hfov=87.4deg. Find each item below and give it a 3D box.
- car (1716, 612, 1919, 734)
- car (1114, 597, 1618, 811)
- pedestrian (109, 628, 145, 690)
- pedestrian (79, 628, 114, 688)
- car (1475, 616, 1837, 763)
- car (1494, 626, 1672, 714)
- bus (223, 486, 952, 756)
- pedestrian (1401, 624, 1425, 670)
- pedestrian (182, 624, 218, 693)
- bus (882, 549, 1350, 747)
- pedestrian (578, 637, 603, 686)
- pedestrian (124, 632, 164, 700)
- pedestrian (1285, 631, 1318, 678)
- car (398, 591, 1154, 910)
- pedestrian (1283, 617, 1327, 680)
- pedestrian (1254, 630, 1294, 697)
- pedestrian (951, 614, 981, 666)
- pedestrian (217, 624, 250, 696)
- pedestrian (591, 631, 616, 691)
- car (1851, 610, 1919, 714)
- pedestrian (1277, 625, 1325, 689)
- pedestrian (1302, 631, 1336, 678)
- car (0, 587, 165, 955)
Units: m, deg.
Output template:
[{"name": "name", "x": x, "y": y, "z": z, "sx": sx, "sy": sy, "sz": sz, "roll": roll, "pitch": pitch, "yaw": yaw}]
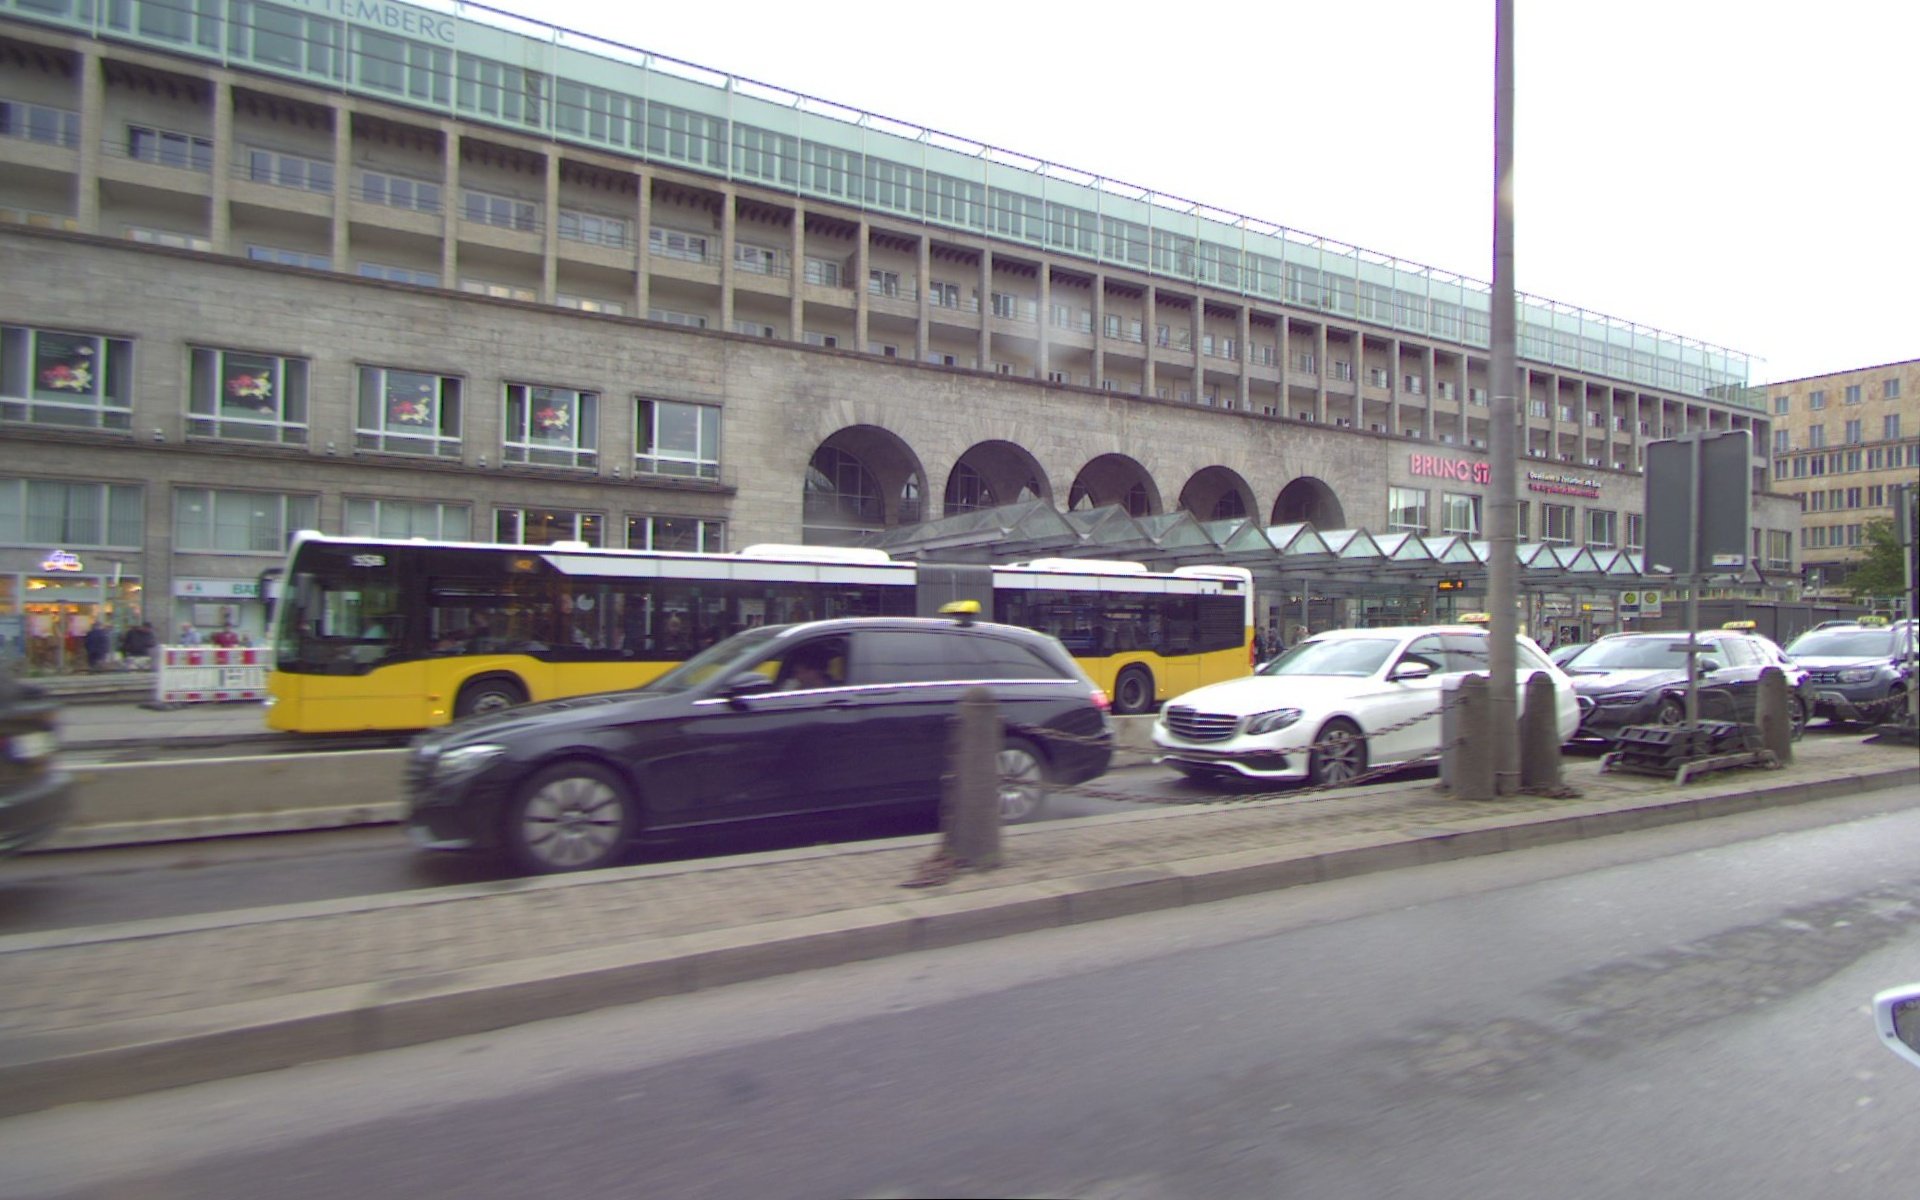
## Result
[{"name": "car", "x": 14.504, "y": 1.126, "z": 16.242, "sx": 4.828, "sy": 1.721, "sz": 1.921, "roll": 1, "pitch": -3, "yaw": -31}, {"name": "car", "x": 4.180, "y": 0.912, "z": 10.078, "sx": 5.132, "sy": 1.681, "sz": 1.967, "roll": 1, "pitch": -3, "yaw": -31}, {"name": "pedestrian", "x": -23.959, "y": 1.682, "z": 28.877, "sx": 0.743, "sy": 1.739, "sz": 0.622, "roll": 1, "pitch": -2, "yaw": -42}, {"name": "pedestrian", "x": -25.151, "y": 1.679, "z": 29.265, "sx": 0.743, "sy": 1.739, "sz": 0.622, "roll": 1, "pitch": -2, "yaw": -42}, {"name": "car", "x": 9.093, "y": 1.066, "z": 13.012, "sx": 4.993, "sy": 1.597, "sz": 1.921, "roll": 1, "pitch": -3, "yaw": -31}, {"name": "car", "x": 14.934, "y": 1.601, "z": 24.055, "sx": 4.072, "sy": 1.853, "sz": 1.983, "roll": 0, "pitch": 0, "yaw": -31}, {"name": "bus", "x": -5.414, "y": 0.418, "z": 16.533, "sx": 10.445, "sy": 3.420, "sz": 2.866, "roll": 1, "pitch": -4, "yaw": -29}, {"name": "pedestrian", "x": 17.546, "y": 1.824, "z": 38.916, "sx": 0.597, "sy": 1.748, "sz": 0.599, "roll": 0, "pitch": 0, "yaw": -28}, {"name": "pedestrian", "x": -19.439, "y": 1.490, "z": 25.695, "sx": 0.686, "sy": 1.739, "sz": 0.464, "roll": 1, "pitch": -2, "yaw": -37}, {"name": "bus", "x": 3.654, "y": 0.932, "z": 21.632, "sx": 10.445, "sy": 3.505, "sz": 2.865, "roll": 1, "pitch": -1, "yaw": -29}, {"name": "pedestrian", "x": -12.433, "y": 2.074, "z": 33.831, "sx": 0.700, "sy": 1.622, "sz": 0.573, "roll": 1, "pitch": -2, "yaw": -30}, {"name": "pedestrian", "x": -19.407, "y": 1.563, "z": 23.898, "sx": 0.632, "sy": 1.587, "sz": 0.491, "roll": 1, "pitch": -1, "yaw": -28}, {"name": "pedestrian", "x": 12.415, "y": 1.973, "z": 36.544, "sx": 0.882, "sy": 1.677, "sz": 0.754, "roll": 0, "pitch": 0, "yaw": -27}, {"name": "car", "x": -1.151, "y": 0.849, "z": 7.164, "sx": 4.954, "sy": 1.597, "sz": 1.921, "roll": 1, "pitch": -3, "yaw": -31}, {"name": "pedestrian", "x": 10.251, "y": 1.417, "z": 29.844, "sx": 1.013, "sy": 1.832, "sz": 0.737, "roll": 0, "pitch": 0, "yaw": -28}, {"name": "pedestrian", "x": 8.427, "y": 1.698, "z": 26.982, "sx": 0.845, "sy": 1.748, "sz": 0.621, "roll": 0, "pitch": 0, "yaw": -28}, {"name": "pedestrian", "x": 0.189, "y": 1.236, "z": 31.309, "sx": 0.747, "sy": 1.588, "sz": 0.628, "roll": 0, "pitch": 0, "yaw": -28}, {"name": "pedestrian", "x": -17.761, "y": 1.463, "z": 24.568, "sx": 0.548, "sy": 1.739, "sz": 0.489, "roll": 1, "pitch": -1, "yaw": -27}, {"name": "pedestrian", "x": -12.352, "y": 2.102, "z": 34.784, "sx": 0.700, "sy": 2.040, "sz": 0.573, "roll": 1, "pitch": -2, "yaw": -30}, {"name": "car", "x": 18.894, "y": 1.122, "z": 18.743, "sx": 4.525, "sy": 1.829, "sz": 1.922, "roll": 1, "pitch": -3, "yaw": -29}, {"name": "pedestrian", "x": 9.316, "y": 1.547, "z": 27.459, "sx": 1.013, "sy": 1.689, "sz": 0.737, "roll": 0, "pitch": 0, "yaw": -28}, {"name": "pedestrian", "x": 13.208, "y": 1.977, "z": 36.949, "sx": 0.882, "sy": 1.677, "sz": 0.754, "roll": 0, "pitch": 0, "yaw": -27}, {"name": "car", "x": -6.689, "y": 0.749, "z": 4.030, "sx": 5.199, "sy": 1.597, "sz": 1.921, "roll": 1, "pitch": -3, "yaw": -30}]
